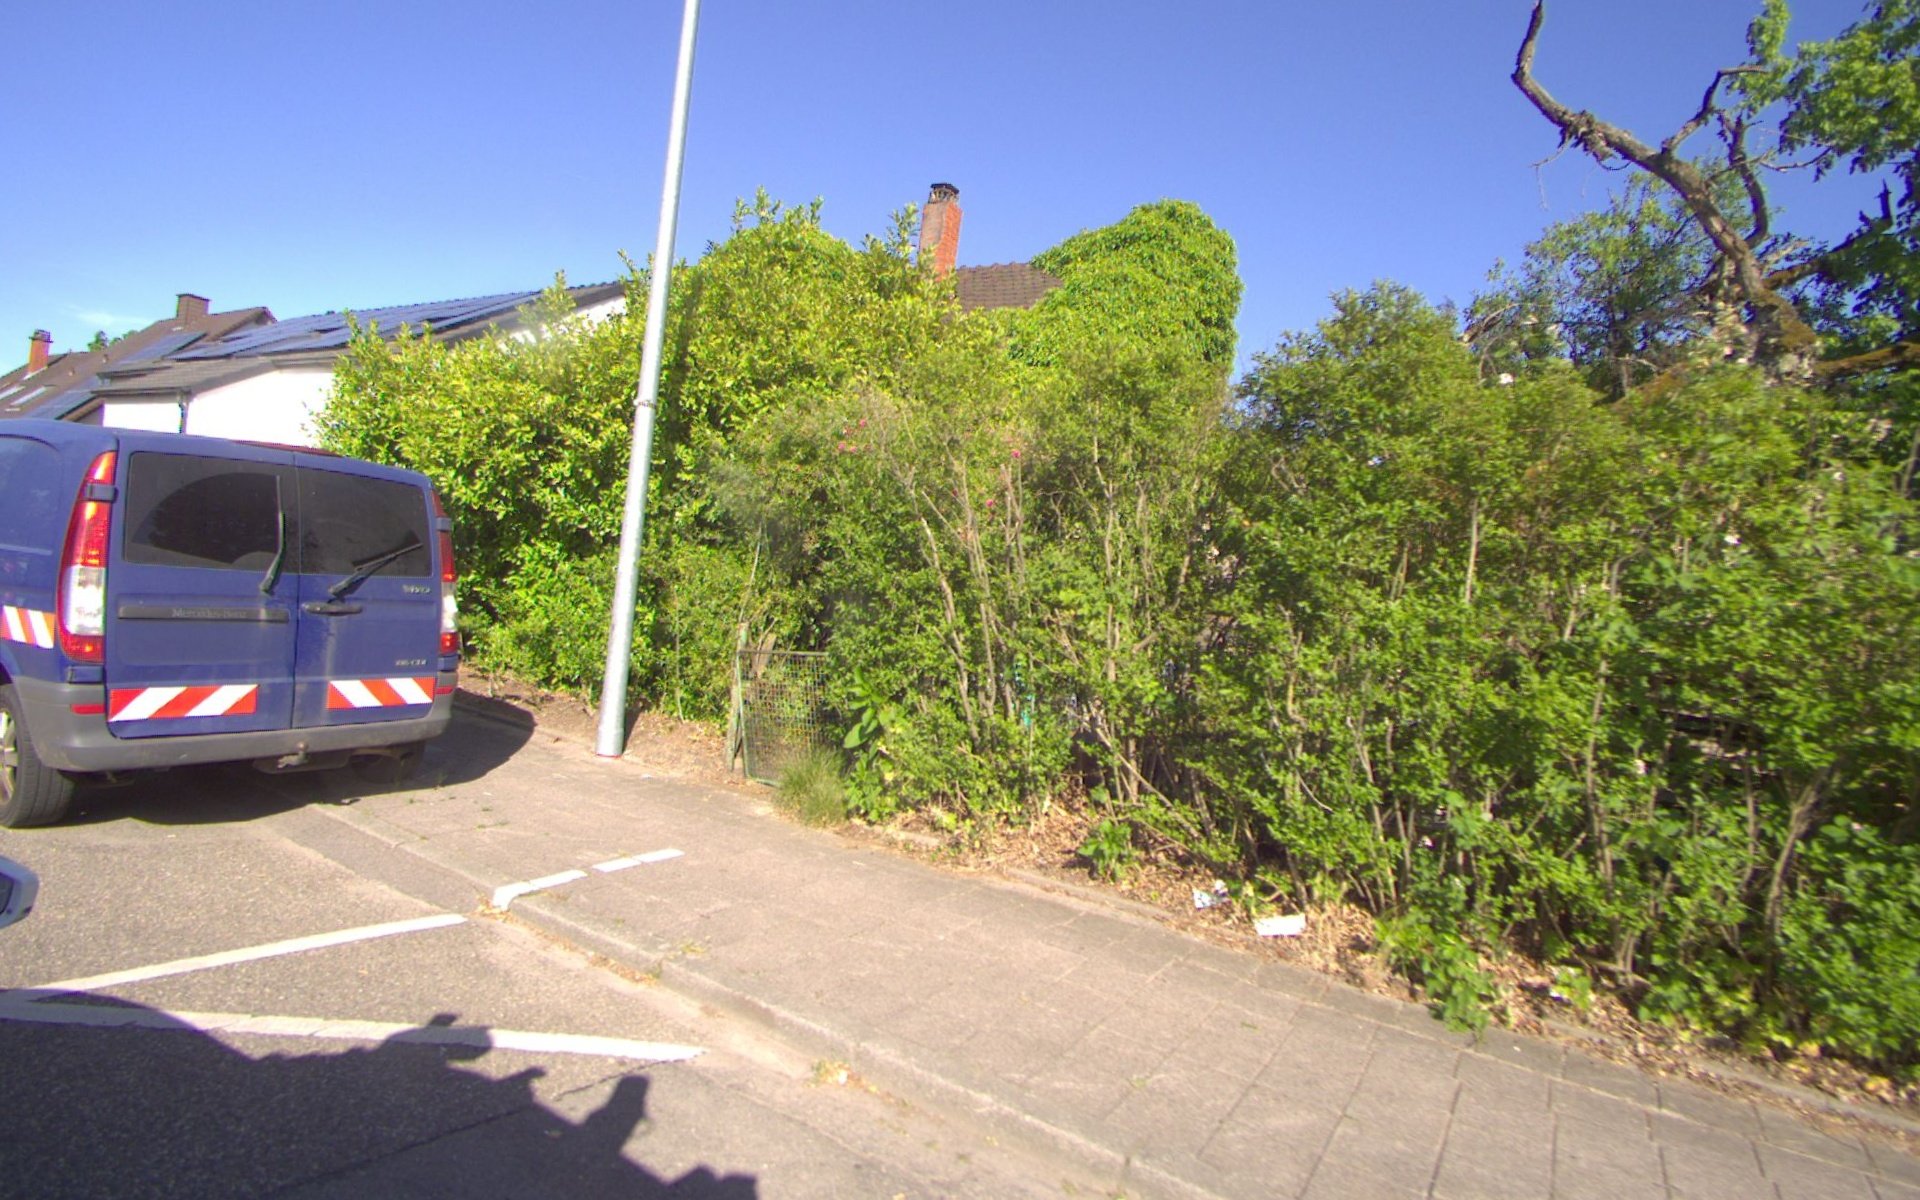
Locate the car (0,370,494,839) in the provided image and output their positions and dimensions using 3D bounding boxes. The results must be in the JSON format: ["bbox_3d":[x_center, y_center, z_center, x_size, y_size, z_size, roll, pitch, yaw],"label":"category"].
[{"bbox_3d":[-5.166,-0.075,6.132,4.621,1.929,1.840,6,-3,33],"label":"car"}]
